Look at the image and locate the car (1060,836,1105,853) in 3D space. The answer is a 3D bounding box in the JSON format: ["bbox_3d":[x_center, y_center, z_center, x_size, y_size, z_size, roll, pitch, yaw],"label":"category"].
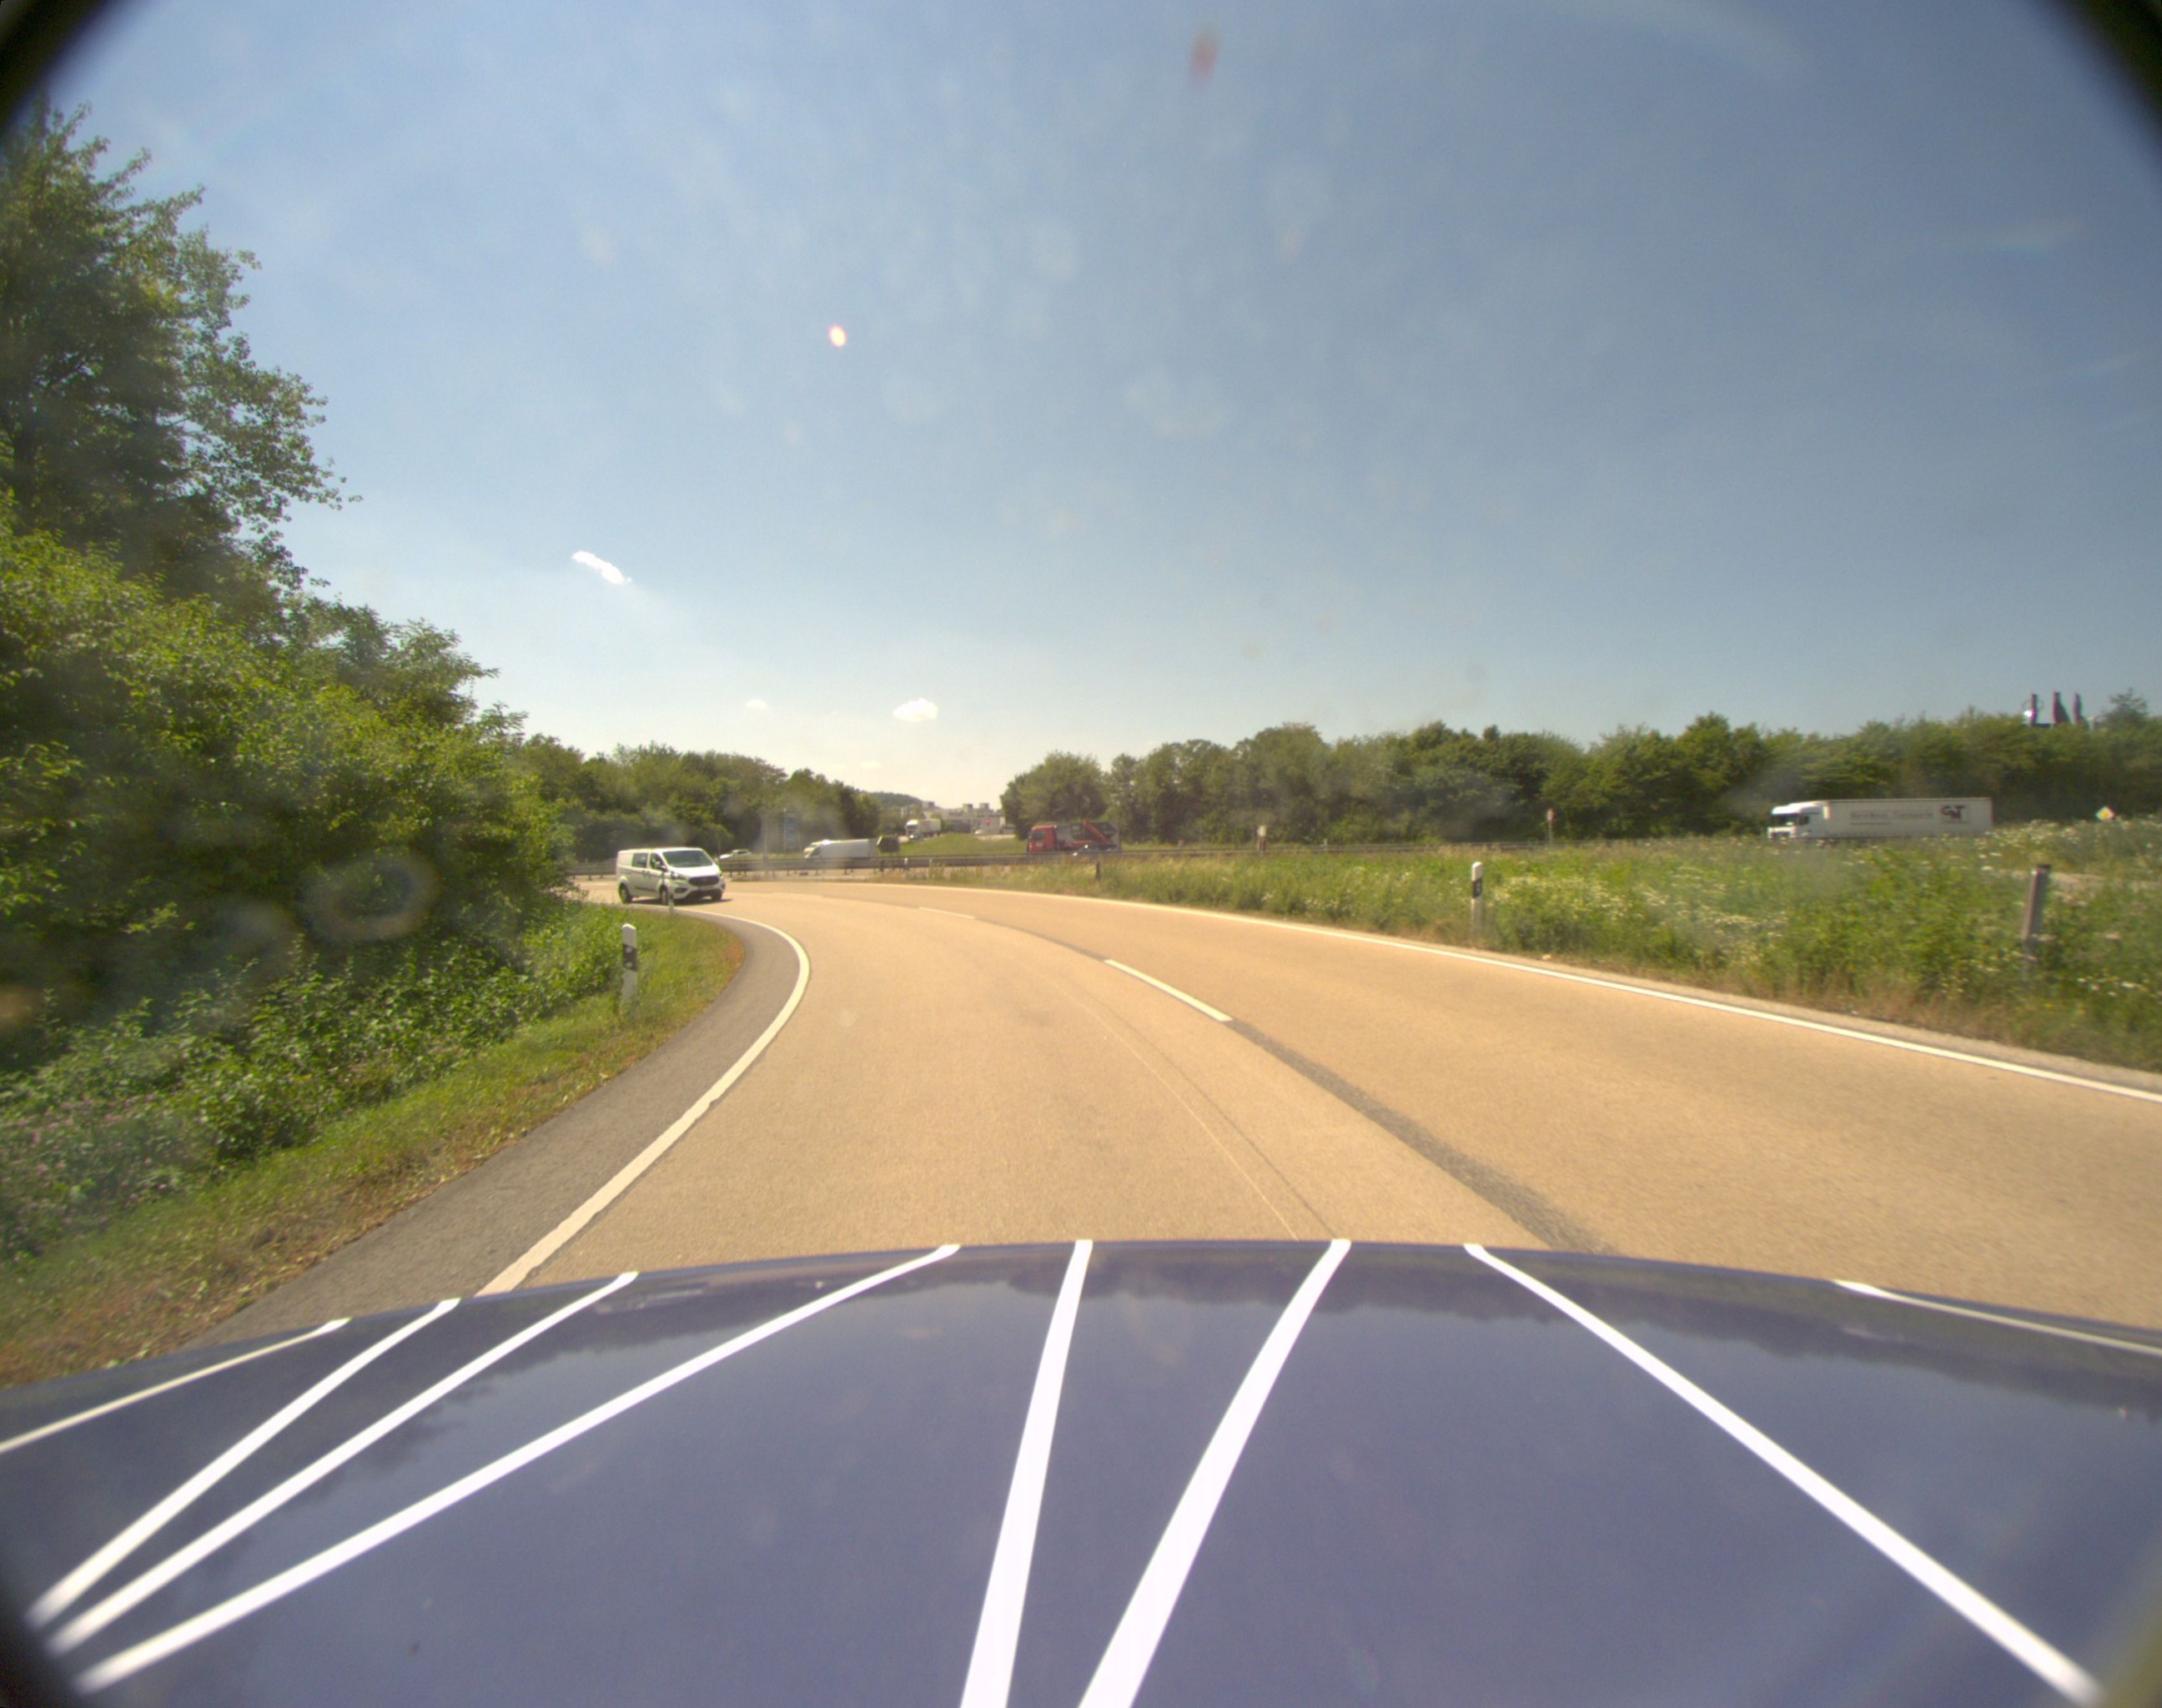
[{"bbox_3d":[0.107,-0.692,55.677,3.243,1.142,1.232,-1,1,2],"label":"car"}]

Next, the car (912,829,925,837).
[{"bbox_3d":[-32.647,-4.188,152.423,1.598,1.424,3.570,-2,1,4],"label":"car"}]

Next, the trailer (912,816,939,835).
[{"bbox_3d":[-35.014,-6.361,171.374,2.822,4.136,12.250,-2,2,3],"label":"trailer"}]

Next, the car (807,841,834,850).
[{"bbox_3d":[-38.216,-1.226,111.648,1.529,1.159,4.081,-1,1,19],"label":"car"}]

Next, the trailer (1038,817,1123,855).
[{"bbox_3d":[-0.025,-1.565,66.479,7.216,2.992,2.305,-2,1,1],"label":"trailer"}]

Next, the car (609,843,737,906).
[{"bbox_3d":[-15.086,0.716,27.994,5.027,2.003,2.066,-1,5,37],"label":"car"}]

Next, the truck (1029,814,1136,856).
[{"bbox_3d":[0.142,-1.484,59.802,8.199,3.045,2.602,-1,1,-1],"label":"truck"}]

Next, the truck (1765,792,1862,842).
[{"bbox_3d":[61.198,-3.044,63.590,5.415,3.917,2.920,-1,1,-3],"label":"truck"}]

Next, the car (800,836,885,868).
[{"bbox_3d":[-20.972,-0.217,66.987,6.690,2.524,2.164,-2,2,3],"label":"car"}]

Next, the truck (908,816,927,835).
[{"bbox_3d":[-35.364,-6.154,164.135,2.829,4.136,3.999,-2,2,3],"label":"truck"}]

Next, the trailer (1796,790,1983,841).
[{"bbox_3d":[67.889,-3.196,63.932,13.269,3.917,2.920,-1,1,-3],"label":"trailer"}]

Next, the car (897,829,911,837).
[{"bbox_3d":[-33.549,-3.990,144.228,1.598,1.424,3.571,-2,1,5],"label":"car"}]

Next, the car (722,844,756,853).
[{"bbox_3d":[-44.667,-0.720,99.259,1.528,1.159,3.882,-1,1,31],"label":"car"}]

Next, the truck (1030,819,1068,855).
[{"bbox_3d":[-2.776,-1.473,66.567,3.074,2.992,2.316,-2,1,2],"label":"truck"}]
